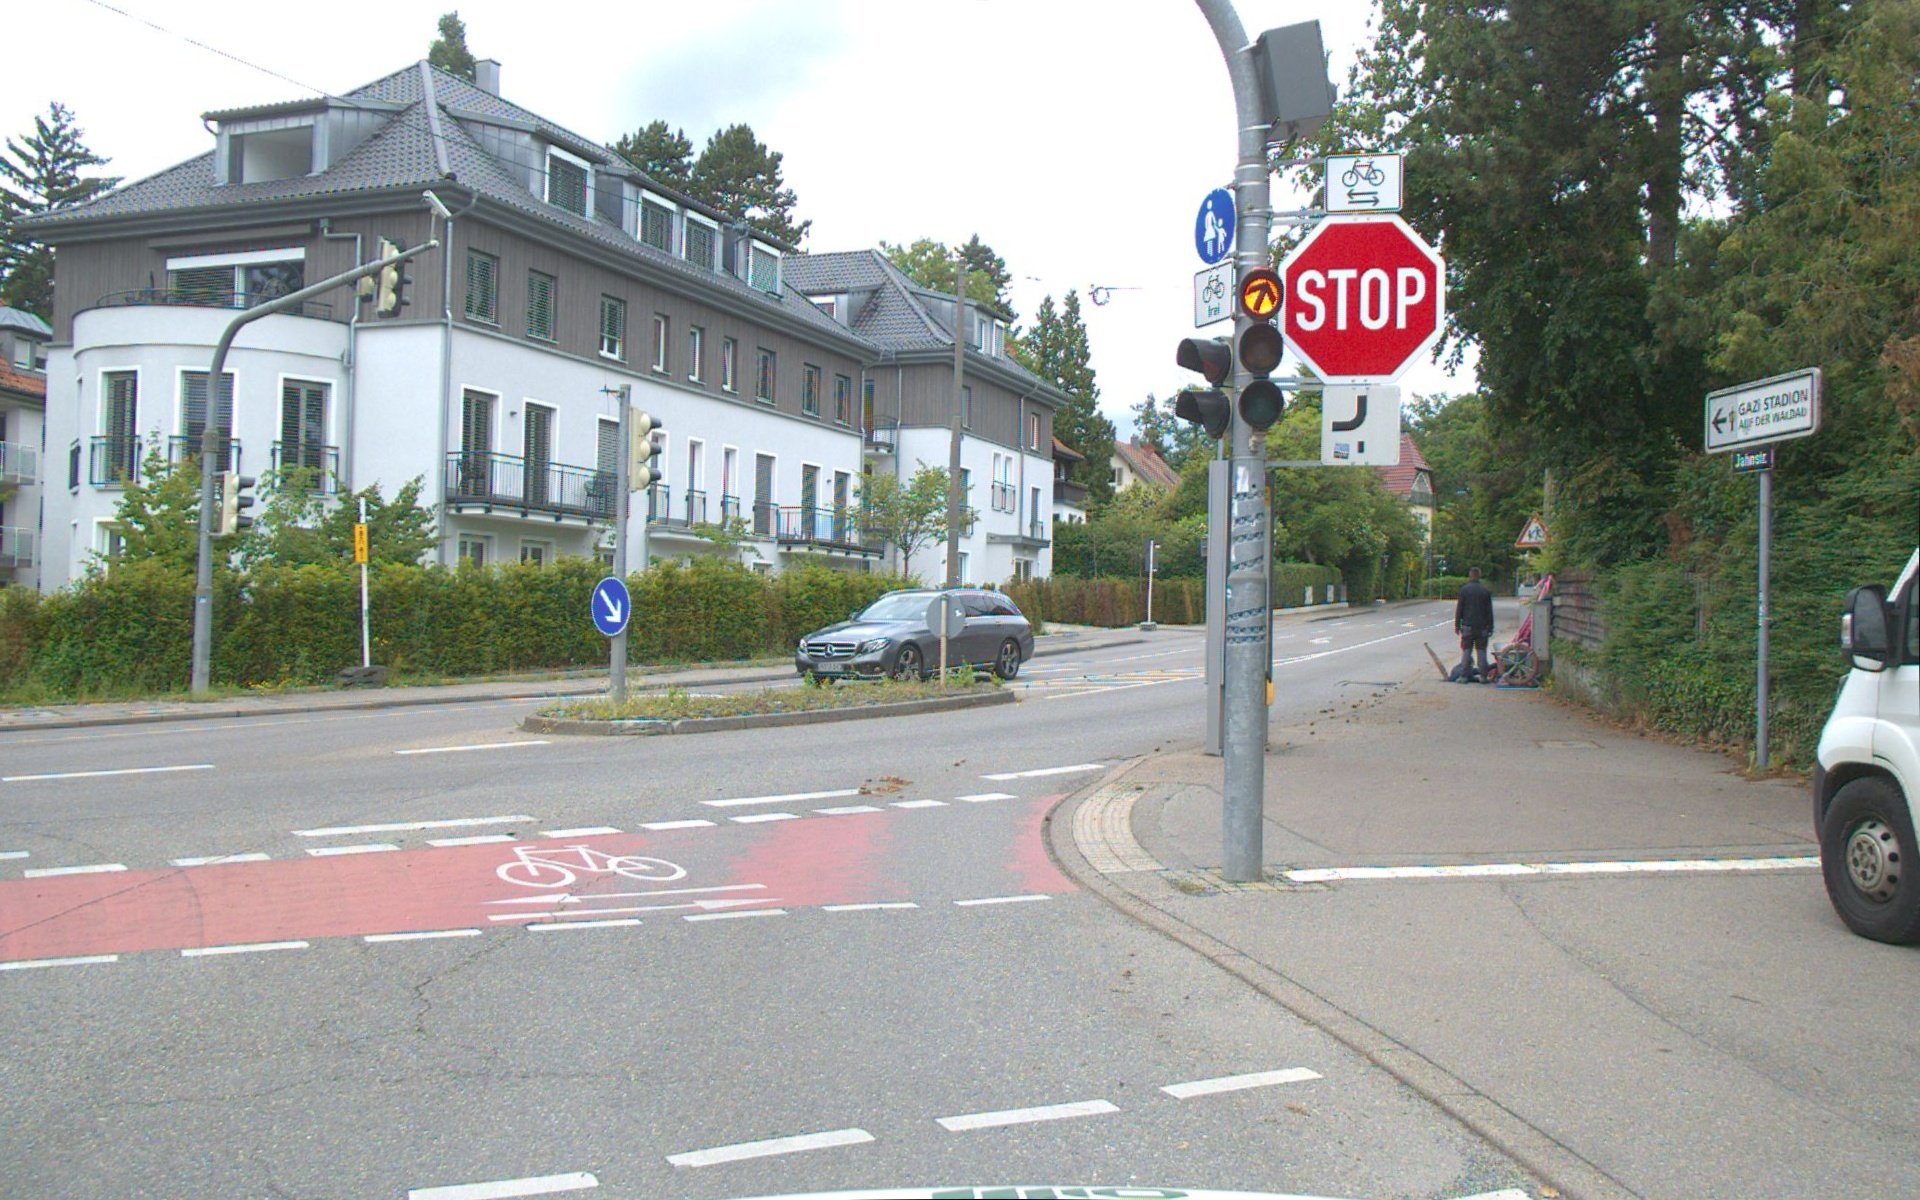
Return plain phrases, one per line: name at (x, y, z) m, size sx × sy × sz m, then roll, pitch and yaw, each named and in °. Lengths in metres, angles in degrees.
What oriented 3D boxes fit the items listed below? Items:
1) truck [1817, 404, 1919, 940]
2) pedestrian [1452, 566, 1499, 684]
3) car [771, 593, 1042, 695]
truck at (5.134, 0.321, 5.026) m, size 2.162 × 2.283 × 5.724 m, roll 1°, pitch 0°, yaw 1°
pedestrian at (8.579, 0.410, 27.539) m, size 0.584 × 1.940 × 0.558 m, roll 1°, pitch 0°, yaw 0°
car at (-0.725, 0.617, 26.147) m, size 1.905 × 1.428 × 4.728 m, roll 1°, pitch 1°, yaw 34°
